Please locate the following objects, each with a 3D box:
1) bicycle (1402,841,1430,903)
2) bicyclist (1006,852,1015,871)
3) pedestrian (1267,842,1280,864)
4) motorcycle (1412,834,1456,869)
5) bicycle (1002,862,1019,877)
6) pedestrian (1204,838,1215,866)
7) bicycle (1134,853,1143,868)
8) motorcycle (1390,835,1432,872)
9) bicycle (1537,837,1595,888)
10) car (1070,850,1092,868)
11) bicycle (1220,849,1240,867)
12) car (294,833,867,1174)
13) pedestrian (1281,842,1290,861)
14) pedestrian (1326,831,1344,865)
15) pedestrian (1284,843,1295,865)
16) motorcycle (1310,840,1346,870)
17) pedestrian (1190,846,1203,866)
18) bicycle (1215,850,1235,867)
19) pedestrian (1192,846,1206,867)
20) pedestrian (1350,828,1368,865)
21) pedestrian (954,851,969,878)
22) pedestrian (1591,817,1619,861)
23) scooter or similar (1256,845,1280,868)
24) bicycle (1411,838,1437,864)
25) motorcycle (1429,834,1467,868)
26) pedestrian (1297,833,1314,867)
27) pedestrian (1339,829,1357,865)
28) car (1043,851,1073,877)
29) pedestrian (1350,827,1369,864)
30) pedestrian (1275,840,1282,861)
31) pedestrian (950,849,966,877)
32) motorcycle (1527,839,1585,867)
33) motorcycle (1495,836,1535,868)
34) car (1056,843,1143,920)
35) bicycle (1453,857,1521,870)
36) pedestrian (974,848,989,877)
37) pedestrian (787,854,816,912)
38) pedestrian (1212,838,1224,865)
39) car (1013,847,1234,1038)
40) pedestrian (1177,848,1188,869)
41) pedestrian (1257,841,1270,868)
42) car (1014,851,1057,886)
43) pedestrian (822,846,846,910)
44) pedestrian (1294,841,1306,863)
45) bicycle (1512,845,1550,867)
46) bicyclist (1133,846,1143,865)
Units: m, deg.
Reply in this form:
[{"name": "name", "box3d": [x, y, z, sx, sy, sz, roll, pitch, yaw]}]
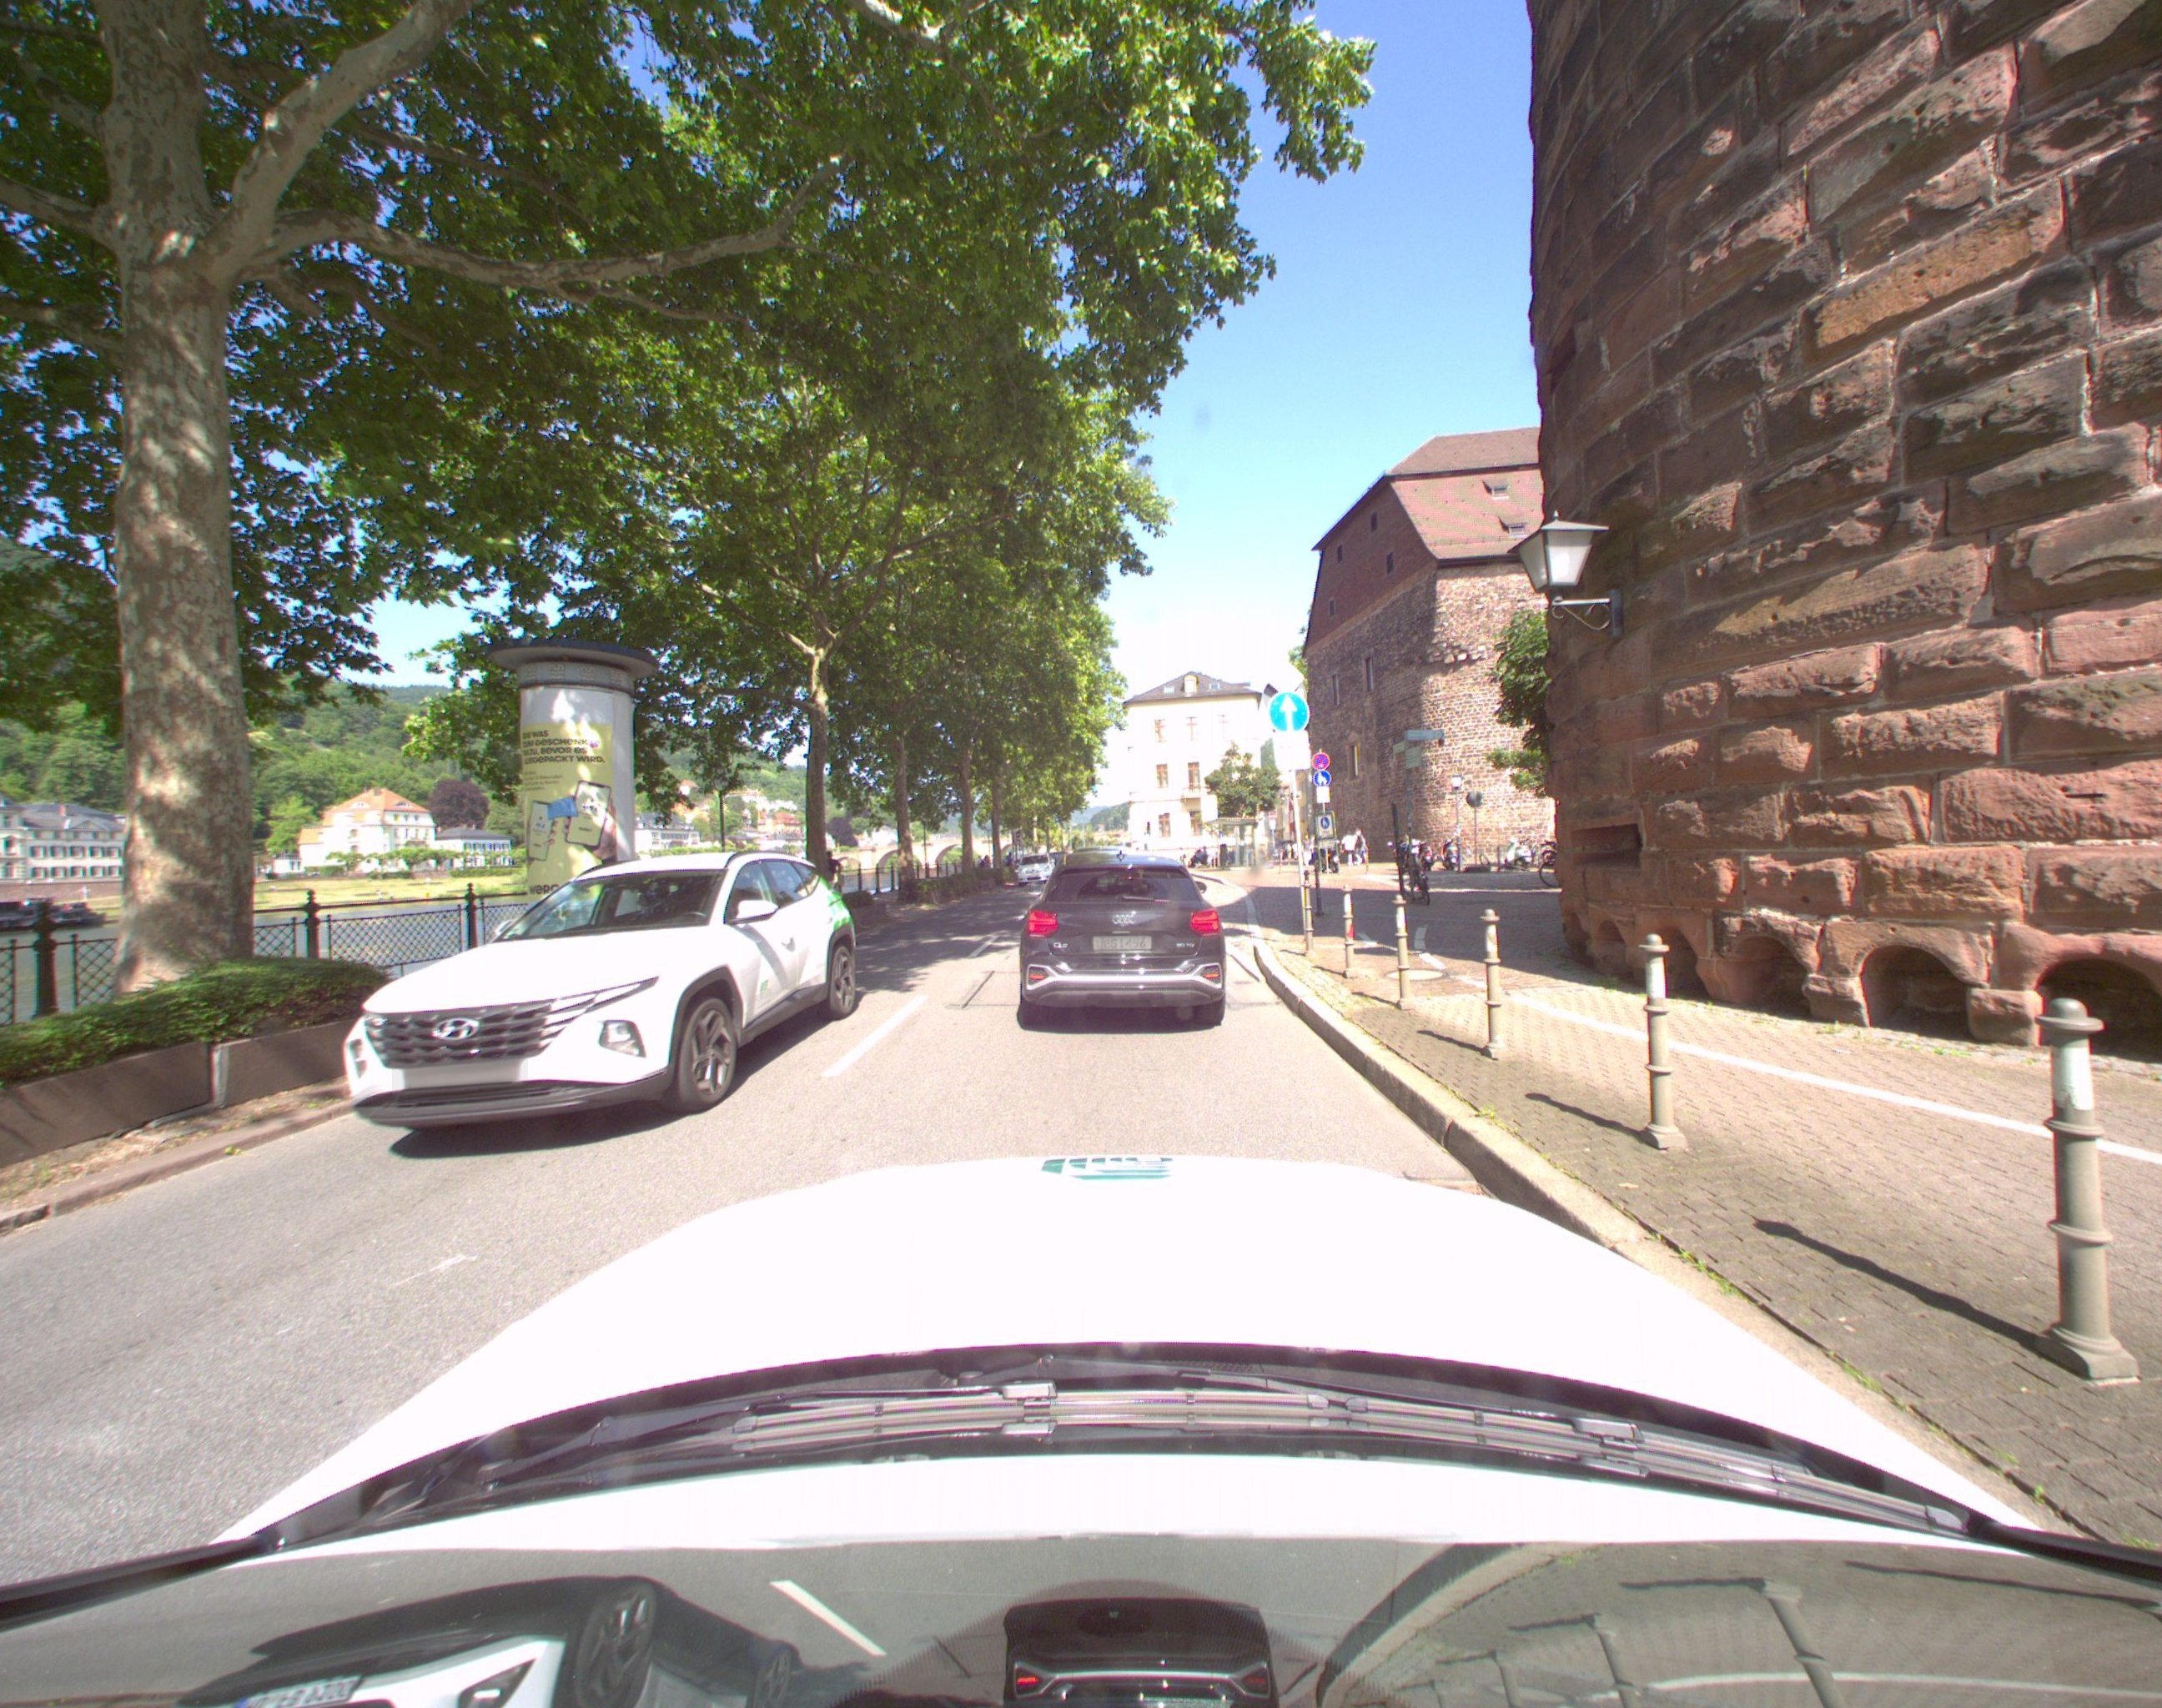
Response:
[{"name": "bicycle", "box3d": [6.874, 0.336, 16.744, 0.192, 1.203, 1.775, -2, 1, 13]}, {"name": "bicyclist", "box3d": [-4.861, 0.497, 56.118, 0.565, 1.311, 0.551, 0, -1, -3]}, {"name": "pedestrian", "box3d": [17.425, -0.095, 73.717, 0.941, 2.014, 0.808, -1, -1, 2]}, {"name": "motorcycle", "box3d": [13.000, -0.072, 30.043, 0.672, 1.235, 2.313, -1, -1, 2]}, {"name": "bicycle", "box3d": [-4.852, 1.075, 56.103, 1.091, 1.006, 0.303, -1, -1, -5]}, {"name": "pedestrian", "box3d": [9.615, -0.142, 61.004, 0.632, 2.014, 0.670, -1, -1, 31]}, {"name": "bicycle", "box3d": [4.252, 0.469, 60.454, 0.436, 1.086, 1.675, 0, -1, -2]}, {"name": "motorcycle", "box3d": [12.059, -0.005, 29.839, 0.653, 1.266, 2.201, -2, -1, 2]}, {"name": "bicycle", "box3d": [11.563, 0.181, 19.465, 0.444, 1.162, 1.733, -2, 0, 5]}, {"name": "car", "box3d": [0.000, 0.537, 83.839, 1.985, 1.806, 4.003, -1, -1, 3]}, {"name": "bicycle", "box3d": [8.938, 0.245, 48.882, 1.205, 1.035, 0.178, 0, -1, -17]}, {"name": "car", "box3d": [-3.190, 0.794, 6.326, 1.762, 1.660, 4.001, -5, 0, 1]}, {"name": "pedestrian", "box3d": [16.738, -0.212, 66.756, 0.620, 1.532, 0.467, -1, -1, 3]}, {"name": "pedestrian", "box3d": [13.851, -0.326, 44.435, 0.649, 1.802, 0.847, -1, 0, 1]}, {"name": "pedestrian", "box3d": [19.412, -0.005, 75.808, 0.836, 2.014, 0.738, -1, -1, 2]}, {"name": "motorcycle", "box3d": [9.049, 0.032, 29.943, 0.564, 1.012, 2.490, -3, 0, 1]}, {"name": "pedestrian", "box3d": [6.920, 0.119, 48.891, 0.662, 1.231, 0.640, 0, -1, -5]}, {"name": "bicycle", "box3d": [8.760, 0.275, 49.531, 1.187, 1.016, 0.178, 0, -1, -17]}, {"name": "pedestrian", "box3d": [6.951, 0.137, 48.092, 0.662, 1.211, 0.640, 0, -1, -5]}, {"name": "pedestrian", "box3d": [14.908, -0.390, 43.649, 0.666, 1.920, 0.821, 0, -1, 1]}, {"name": "pedestrian", "box3d": [-8.089, 0.686, 55.201, 0.906, 1.811, 0.587, -1, -1, 6]}, {"name": "pedestrian", "box3d": [20.530, -0.596, 31.918, 0.799, 1.662, 0.660, -3, 0, 26]}, {"name": "scooter or similar", "box3d": [9.023, 0.127, 39.269, 1.085, 1.066, 0.323, 0, -1, -1]}, {"name": "bicycle", "box3d": [16.865, -0.134, 40.025, 0.388, 1.209, 1.715, 0, -1, -6]}, {"name": "motorcycle", "box3d": [13.811, -0.100, 30.695, 0.544, 1.235, 2.031, -1, -1, 2]}, {"name": "pedestrian", "box3d": [12.460, -0.226, 45.234, 0.744, 1.890, 0.753, -1, -1, 4]}, {"name": "pedestrian", "box3d": [14.123, -0.350, 43.061, 0.666, 1.884, 0.821, 0, -1, 1]}, {"name": "car", "box3d": [-1.745, 0.714, 62.496, 1.806, 1.725, 4.423, -8, 0, 2]}, {"name": "pedestrian", "box3d": [15.309, -0.456, 44.742, 0.727, 2.014, 0.878, -1, -1, 1]}, {"name": "pedestrian", "box3d": [16.195, -0.270, 66.789, 0.447, 1.680, 0.467, -1, -1, 4]}, {"name": "pedestrian", "box3d": [-8.139, 0.600, 53.998, 0.906, 1.844, 0.587, -1, -1, 6]}, {"name": "motorcycle", "box3d": [18.007, -0.038, 30.898, 1.854, 1.054, 0.481, -1, -1, 9]}, {"name": "motorcycle", "box3d": [15.485, -0.059, 29.106, 0.505, 1.073, 1.841, -1, -1, 2]}, {"name": "car", "box3d": [0.434, 0.568, 18.632, 1.786, 1.595, 3.400, 0, 0, 2]}, {"name": "bicycle", "box3d": [13.604, 0.308, 27.351, 1.914, 0.381, 0.921, -2, -1, 16]}, {"name": "pedestrian", "box3d": [-7.103, 0.616, 58.231, 0.906, 2.014, 0.587, -1, -1, 6]}, {"name": "pedestrian", "box3d": [-8.235, 0.846, 24.010, 0.599, 1.685, 0.583, -3, 0, 0]}, {"name": "pedestrian", "box3d": [10.160, -0.167, 60.500, 0.632, 2.014, 0.670, -1, -1, 31]}, {"name": "car", "box3d": [0.394, 0.690, 8.273, 1.736, 1.509, 3.649, 0, 0, 2]}, {"name": "pedestrian", "box3d": [7.343, 0.358, 58.780, 0.691, 1.500, 0.513, 0, -1, -3]}, {"name": "pedestrian", "box3d": [9.510, 0.025, 42.406, 0.555, 1.385, 0.588, -1, -1, 4]}, {"name": "car", "box3d": [-2.316, 0.698, 42.606, 1.732, 1.572, 4.093, -6, 0, 2]}, {"name": "pedestrian", "box3d": [-7.313, 0.701, 24.137, 0.532, 1.887, 0.437, -1, 0, 1]}, {"name": "pedestrian", "box3d": [20.317, -0.182, 75.619, 0.936, 2.014, 0.808, -1, -1, 2]}, {"name": "bicycle", "box3d": [16.628, 0.061, 30.136, 0.352, 0.820, 1.926, 0, 1, 1]}, {"name": "bicyclist", "box3d": [4.240, 0.104, 60.567, 0.604, 1.450, 0.590, 0, -1, -3]}]
